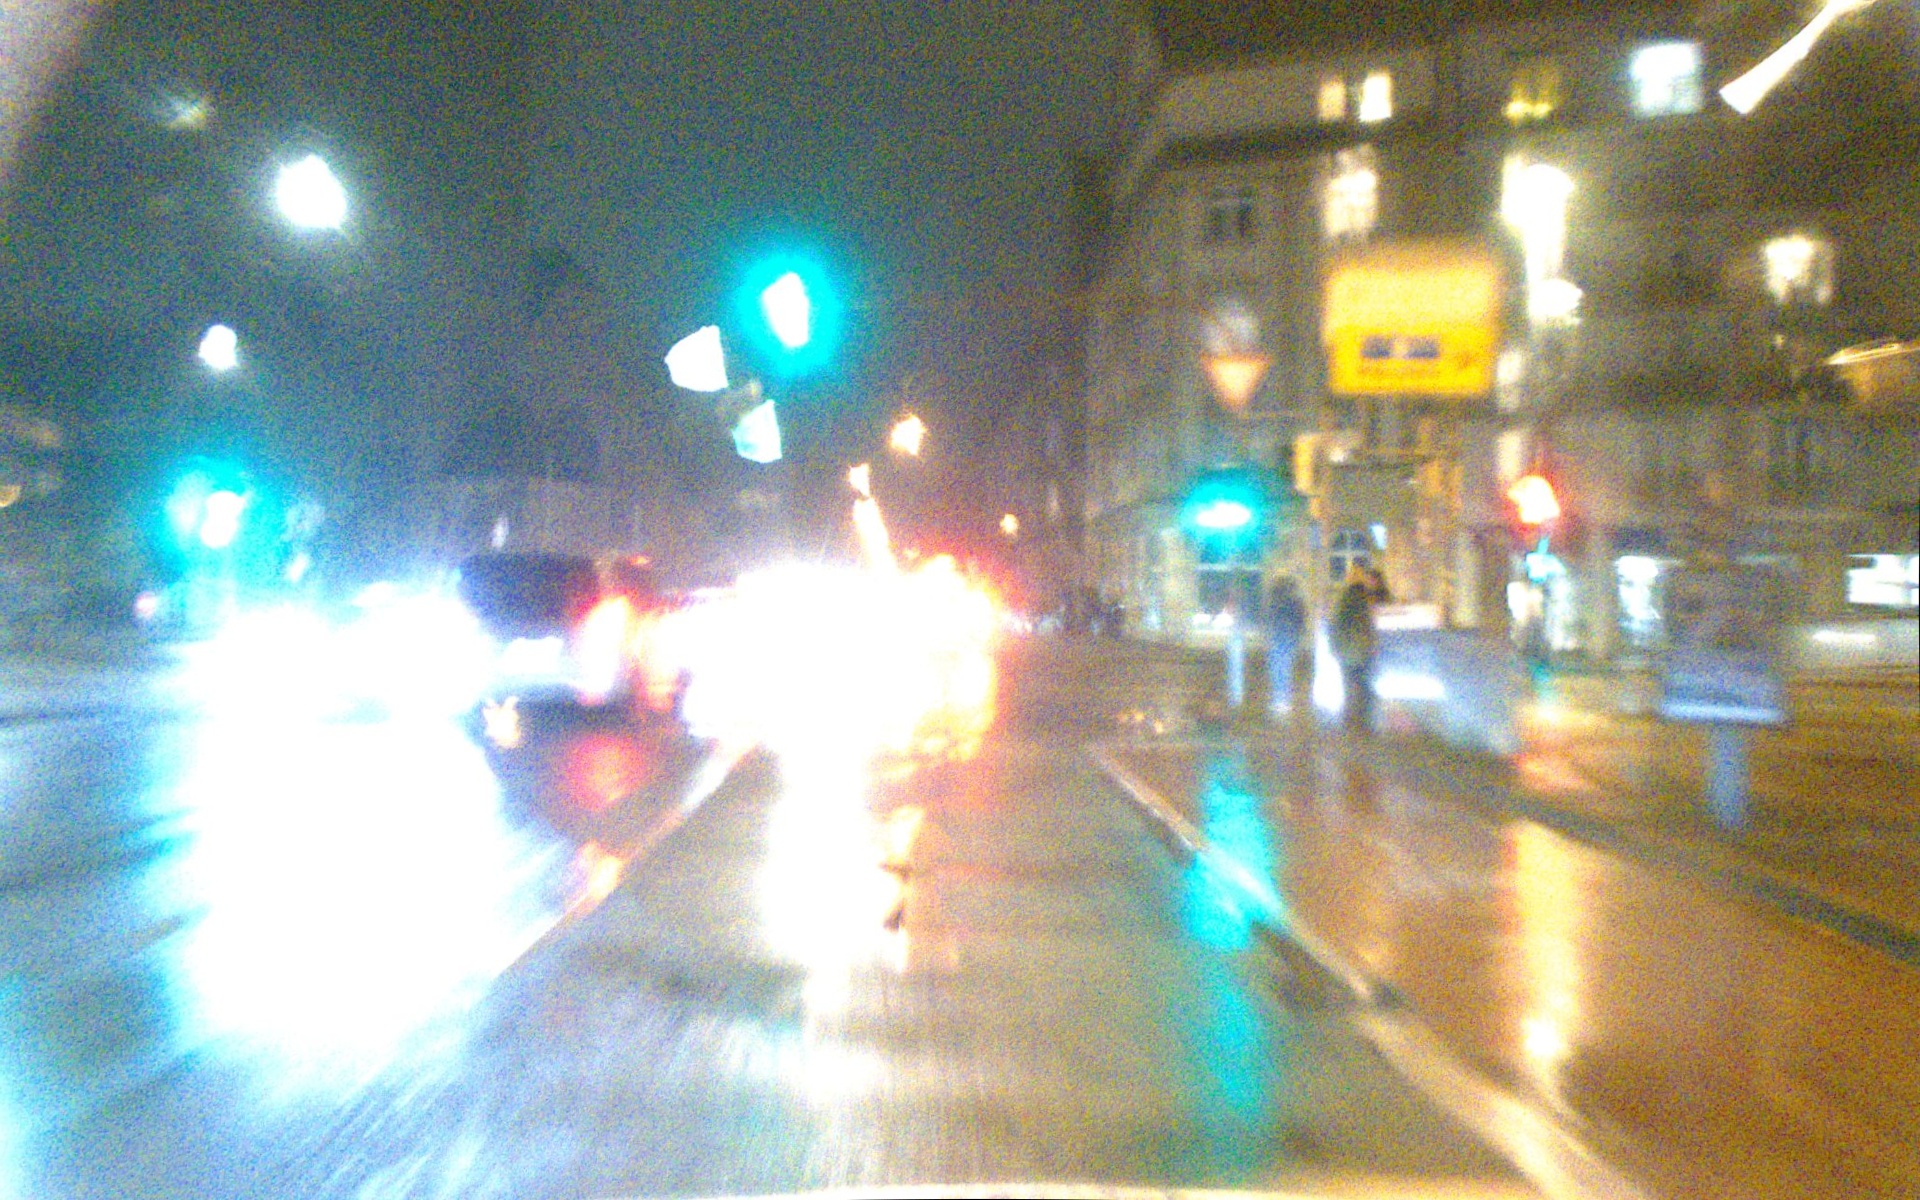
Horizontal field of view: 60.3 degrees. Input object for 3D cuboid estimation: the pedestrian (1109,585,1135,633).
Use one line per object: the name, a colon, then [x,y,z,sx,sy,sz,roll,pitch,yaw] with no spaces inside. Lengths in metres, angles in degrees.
pedestrian: [5.611,0.308,57.271,0.765,1.646,0.999,0,0,-2]

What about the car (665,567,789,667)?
car: [-3.932,0.255,28.552,1.782,1.569,4.722,0,0,-4]

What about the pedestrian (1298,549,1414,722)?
pedestrian: [4.340,0.372,18.190,1.084,1.857,0.851,0,1,2]

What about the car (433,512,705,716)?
car: [-4.327,0.073,19.203,1.993,1.987,5.199,-2,1,-2]

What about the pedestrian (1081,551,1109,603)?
pedestrian: [5.025,-0.868,61.546,0.938,1.914,0.999,0,0,-2]

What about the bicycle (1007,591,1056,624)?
bicycle: [2.881,0.307,66.887,1.861,1.273,0.595,-2,0,-8]

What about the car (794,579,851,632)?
car: [-4.266,0.148,51.671,1.673,1.569,3.986,0,0,-4]

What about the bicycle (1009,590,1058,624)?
bicycle: [2.950,0.273,66.161,1.861,1.273,0.595,-2,0,-8]

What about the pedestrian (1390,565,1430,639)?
pedestrian: [12.945,0.049,47.560,0.954,2.048,1.015,0,3,24]

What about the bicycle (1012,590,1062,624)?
bicycle: [3.040,0.265,65.219,1.861,1.273,0.709,-2,0,-8]

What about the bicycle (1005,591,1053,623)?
bicycle: [2.808,0.278,67.518,1.861,1.273,0.595,-2,0,-8]

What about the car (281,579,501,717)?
car: [-7.283,0.534,21.573,1.613,1.538,4.106,-2,1,-3]

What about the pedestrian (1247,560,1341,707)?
pedestrian: [4.298,0.410,21.377,1.084,1.857,0.851,0,1,4]

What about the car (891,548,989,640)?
car: [-0.524,-0.142,38.437,2.125,2.006,4.300,0,0,-3]
